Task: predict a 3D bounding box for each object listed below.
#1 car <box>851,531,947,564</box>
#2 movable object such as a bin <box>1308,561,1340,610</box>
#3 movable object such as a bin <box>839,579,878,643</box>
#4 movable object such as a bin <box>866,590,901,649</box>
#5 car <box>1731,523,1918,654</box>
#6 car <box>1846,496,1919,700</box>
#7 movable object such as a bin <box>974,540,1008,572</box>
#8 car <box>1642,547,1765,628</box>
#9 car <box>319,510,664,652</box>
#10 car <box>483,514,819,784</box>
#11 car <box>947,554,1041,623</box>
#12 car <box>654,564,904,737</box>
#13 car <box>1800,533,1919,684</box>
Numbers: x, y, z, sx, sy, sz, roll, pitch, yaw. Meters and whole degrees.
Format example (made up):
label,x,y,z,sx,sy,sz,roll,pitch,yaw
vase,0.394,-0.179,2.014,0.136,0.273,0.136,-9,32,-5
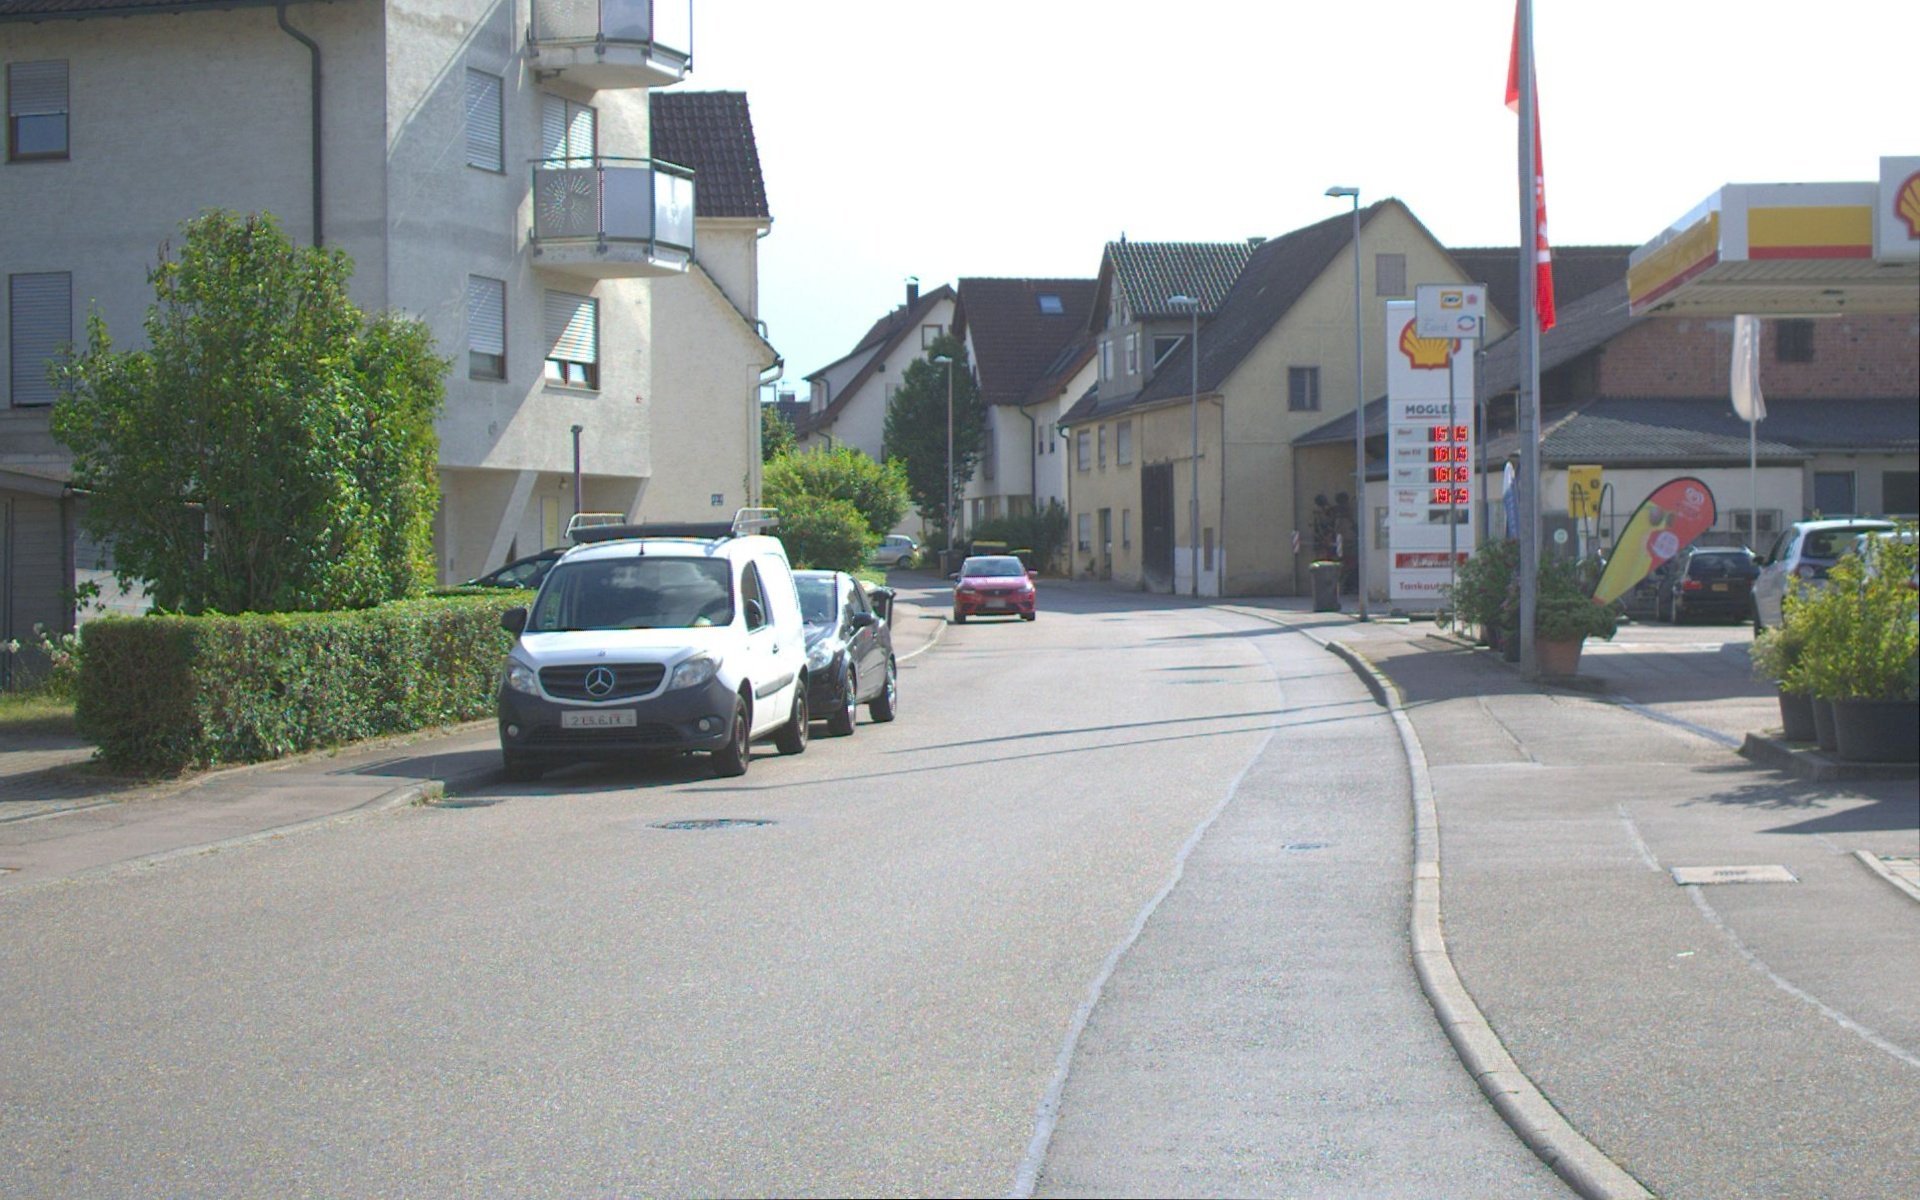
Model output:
label,x,y,z,sx,sy,sz,roll,pitch,yaw
car,-2.617,-2.234,146.244,3.986,1.348,1.711,-1,1,-3
movable object such as a bin,8.012,-0.326,75.699,0.653,1.070,0.513,-1,1,2
movable object such as a bin,-1.753,0.192,59.345,0.588,1.080,0.508,-2,1,5
movable object such as a bin,-1.359,0.337,61.005,0.531,1.019,0.457,-2,1,5
car,11.000,-0.181,43.970,1.672,1.572,3.998,-1,1,5
car,9.550,-0.094,29.222,4.065,1.669,1.677,-3,1,-37
movable object such as a bin,1.117,-1.600,125.280,1.160,1.164,0.655,-1,1,-7
car,13.784,-0.258,63.933,1.578,1.422,4.381,0,1,3
car,-6.052,-0.268,44.505,3.990,1.533,1.761,4,2,17
car,-2.267,0.319,26.328,1.717,1.866,4.191,-2,1,6
car,0.723,-0.262,76.227,1.708,1.430,3.781,-2,0,-5
car,-1.604,0.419,31.655,1.673,1.446,3.833,-1,1,6
car,10.579,0.054,38.460,1.672,1.572,3.998,-1,1,5
